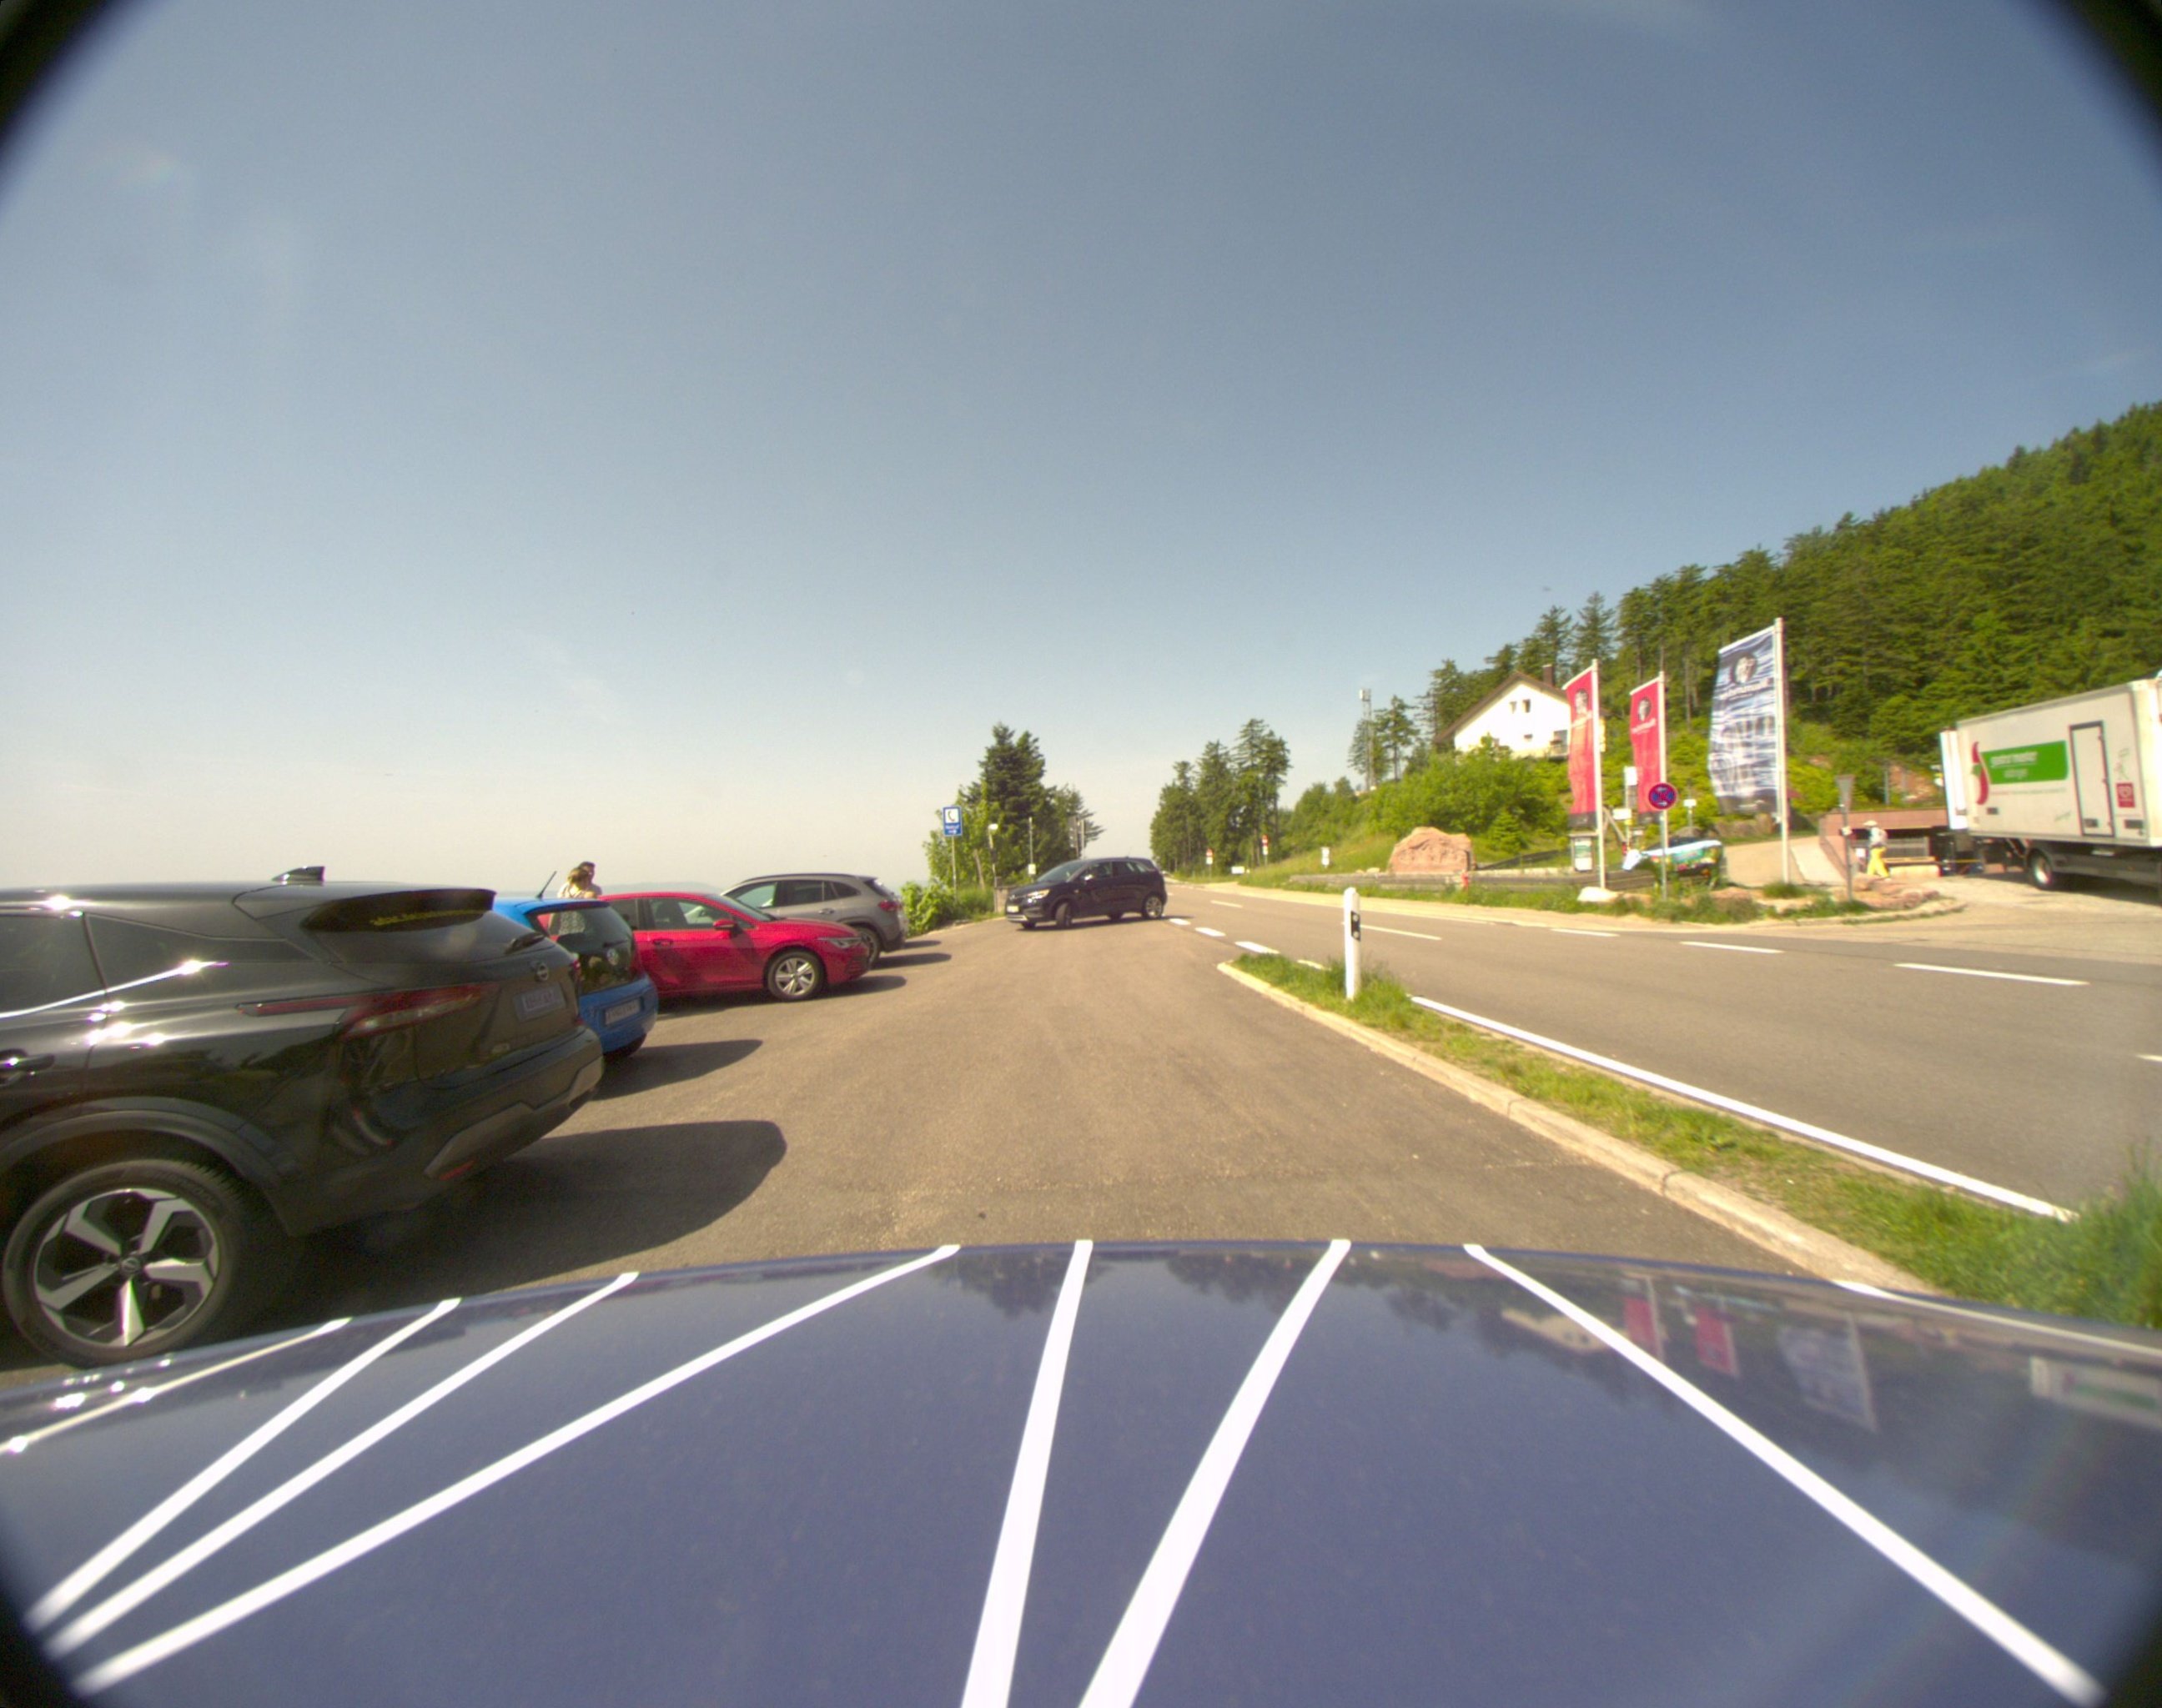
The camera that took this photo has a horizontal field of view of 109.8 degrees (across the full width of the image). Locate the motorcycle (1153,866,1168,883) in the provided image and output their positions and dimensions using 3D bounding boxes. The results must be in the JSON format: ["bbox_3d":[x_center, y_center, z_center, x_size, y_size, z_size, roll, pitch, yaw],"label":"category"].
[{"bbox_3d":[6.253,1.618,59.737,0.813,1.258,2.327,-1,0,-3],"label":"motorcycle"}]

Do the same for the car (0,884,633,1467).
[{"bbox_3d":[-4.389,1.082,3.004,4.000,1.604,1.915,-3,0,-10],"label":"car"}]

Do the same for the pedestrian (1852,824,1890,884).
[{"bbox_3d":[22.566,0.011,21.715,0.574,1.679,0.654,-1,0,31],"label":"pedestrian"}]

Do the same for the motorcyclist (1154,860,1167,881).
[{"bbox_3d":[6.246,1.302,59.704,0.881,1.632,1.299,-1,0,-3],"label":"motorcyclist"}]

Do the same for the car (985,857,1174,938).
[{"bbox_3d":[0.016,0.965,18.323,4.157,1.607,1.981,-2,0,-37],"label":"car"}]

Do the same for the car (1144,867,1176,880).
[{"bbox_3d":[12.553,3.108,121.073,4.730,1.870,1.932,1,-1,-2],"label":"car"}]

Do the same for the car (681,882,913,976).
[{"bbox_3d":[-5.452,1.405,15.049,4.001,1.377,1.655,-4,0,-15],"label":"car"}]

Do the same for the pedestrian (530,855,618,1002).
[{"bbox_3d":[-6.856,0.980,10.304,0.610,1.889,0.678,-4,1,-6],"label":"pedestrian"}]

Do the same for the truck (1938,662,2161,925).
[{"bbox_3d":[19.163,-1.136,13.251,3.062,3.949,8.785,-4,1,32],"label":"truck"}]

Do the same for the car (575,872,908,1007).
[{"bbox_3d":[-5.098,1.220,12.065,4.413,1.559,1.905,-4,0,-16],"label":"car"}]

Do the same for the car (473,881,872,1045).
[{"bbox_3d":[-4.757,1.217,9.520,4.001,1.501,1.840,-3,0,-14],"label":"car"}]

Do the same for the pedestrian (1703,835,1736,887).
[{"bbox_3d":[21.493,0.227,25.586,0.697,1.706,0.800,-1,0,31],"label":"pedestrian"}]

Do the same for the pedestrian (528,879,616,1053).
[{"bbox_3d":[-5.349,1.148,8.019,0.505,1.715,0.566,-5,1,-18],"label":"pedestrian"}]

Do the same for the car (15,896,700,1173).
[{"bbox_3d":[-5.265,1.244,5.981,3.591,1.487,1.647,-4,0,-4],"label":"car"}]
